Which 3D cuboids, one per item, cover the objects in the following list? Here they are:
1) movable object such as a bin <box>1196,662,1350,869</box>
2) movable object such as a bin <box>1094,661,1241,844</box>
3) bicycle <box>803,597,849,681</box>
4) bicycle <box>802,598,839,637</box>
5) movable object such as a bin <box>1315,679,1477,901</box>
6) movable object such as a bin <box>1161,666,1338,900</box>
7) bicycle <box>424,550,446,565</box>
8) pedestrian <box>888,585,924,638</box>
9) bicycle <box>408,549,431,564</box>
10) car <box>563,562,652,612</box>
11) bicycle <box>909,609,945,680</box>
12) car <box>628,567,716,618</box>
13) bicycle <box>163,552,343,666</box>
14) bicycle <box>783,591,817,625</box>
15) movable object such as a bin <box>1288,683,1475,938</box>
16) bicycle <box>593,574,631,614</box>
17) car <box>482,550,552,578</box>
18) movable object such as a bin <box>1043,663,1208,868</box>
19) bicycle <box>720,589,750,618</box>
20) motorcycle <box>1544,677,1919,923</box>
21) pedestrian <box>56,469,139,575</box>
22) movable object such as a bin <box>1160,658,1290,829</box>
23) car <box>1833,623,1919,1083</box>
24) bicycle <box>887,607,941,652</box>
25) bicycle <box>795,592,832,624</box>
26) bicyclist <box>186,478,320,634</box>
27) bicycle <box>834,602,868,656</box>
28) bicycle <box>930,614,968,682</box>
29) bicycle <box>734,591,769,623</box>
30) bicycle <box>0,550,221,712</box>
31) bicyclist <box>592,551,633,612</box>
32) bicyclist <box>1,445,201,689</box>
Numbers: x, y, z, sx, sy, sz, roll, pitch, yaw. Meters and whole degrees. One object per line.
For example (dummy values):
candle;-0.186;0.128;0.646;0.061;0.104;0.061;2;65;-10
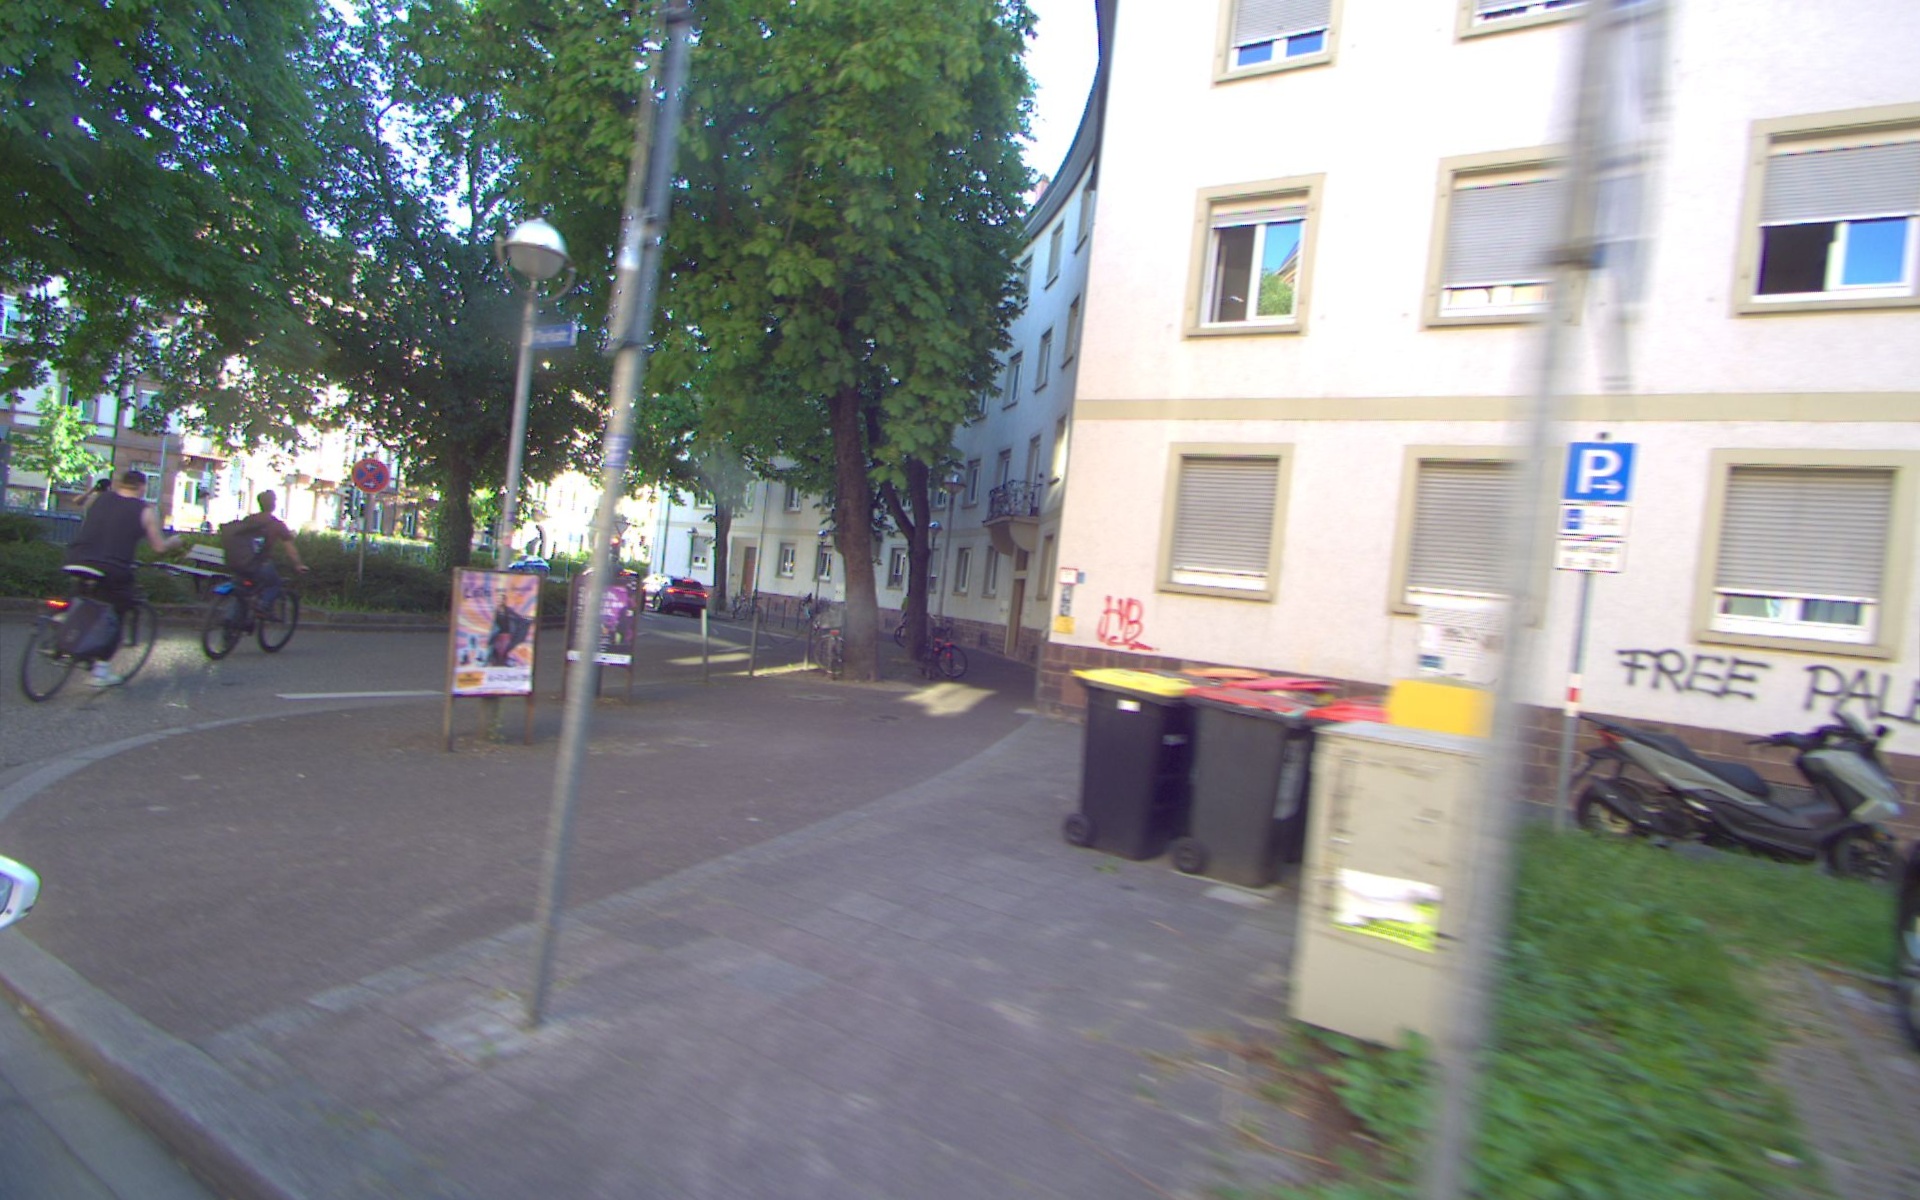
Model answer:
movable object such as a bin;2.027;1.030;6.499;0.690;1.167;0.632;7;1;32
movable object such as a bin;1.425;1.009;6.891;0.694;1.089;0.629;7;1;32
bicycle;-2.114;0.589;15.980;0.545;1.197;1.788;6;0;-6
bicycle;-4.625;0.572;33.199;0.609;1.128;1.980;3;2;-25
movable object such as a bin;2.685;1.116;6.174;0.690;1.167;0.738;7;1;32
movable object such as a bin;1.695;1.012;5.850;0.690;1.167;0.738;7;1;32
bicycle;-34.983;-2.821;67.073;0.442;0.872;1.222;7;0;27
pedestrian;-1.986;0.432;36.678;0.985;1.818;0.655;5;2;-27
bicycle;-35.456;-2.855;65.963;0.442;0.872;1.222;7;0;27
car;-13.228;-0.512;37.663;1.804;1.563;3.915;4;1;-40
bicycle;-0.630;0.799;18.688;0.431;1.195;1.783;6;0;-6
car;-11.551;-0.323;40.202;1.882;1.597;3.958;7;0;-38
bicycle;-7.658;0.101;11.031;0.664;1.066;2.059;6;-1;-8
bicycle;-6.361;0.301;39.983;0.490;1.188;2.099;2;2;-32
movable object such as a bin;2.299;1.081;5.459;0.704;1.167;0.738;7;1;32
bicycle;-11.731;-0.210;33.896;0.594;1.176;2.023;6;0;-34
car;-29.530;-2.354;67.243;1.962;1.516;4.373;7;1;13
movable object such as a bin;1.016;0.968;6.140;0.683;1.077;0.657;7;1;32
bicycle;-9.148;0.144;40.822;0.515;1.011;2.175;6;0;-29
motorcycle;5.618;1.364;7.305;2.143;1.296;0.977;7;1;24
pedestrian;-15.158;-1.364;17.687;0.769;1.705;0.914;7;1;42
movable object such as a bin;1.931;1.014;7.319;0.662;1.097;0.591;7;1;31
car;4.062;1.005;2.314;1.989;1.735;4.112;8;1;27
bicycle;-1.351;0.850;29.394;0.666;1.197;1.806;4;0;-34
bicycle;-5.899;0.303;40.353;0.577;1.128;2.099;5;1;-32
bicyclist;-7.582;-0.446;10.843;0.662;1.533;1.067;6;0;-9
bicycle;-2.571;0.671;23.933;0.669;1.173;1.999;5;0;-5
bicycle;-0.223;0.867;18.809;0.385;1.123;1.800;6;0;-7
bicycle;-8.212;0.268;39.548;0.611;1.072;1.911;4;2;-34
bicycle;-6.649;0.189;7.798;0.729;1.024;2.054;8;-1;-16
bicyclist;-11.727;-0.639;33.919;0.845;1.922;1.128;5;1;-36
bicyclist;-6.600;-0.240;7.790;0.743;1.703;0.910;6;1;-17
